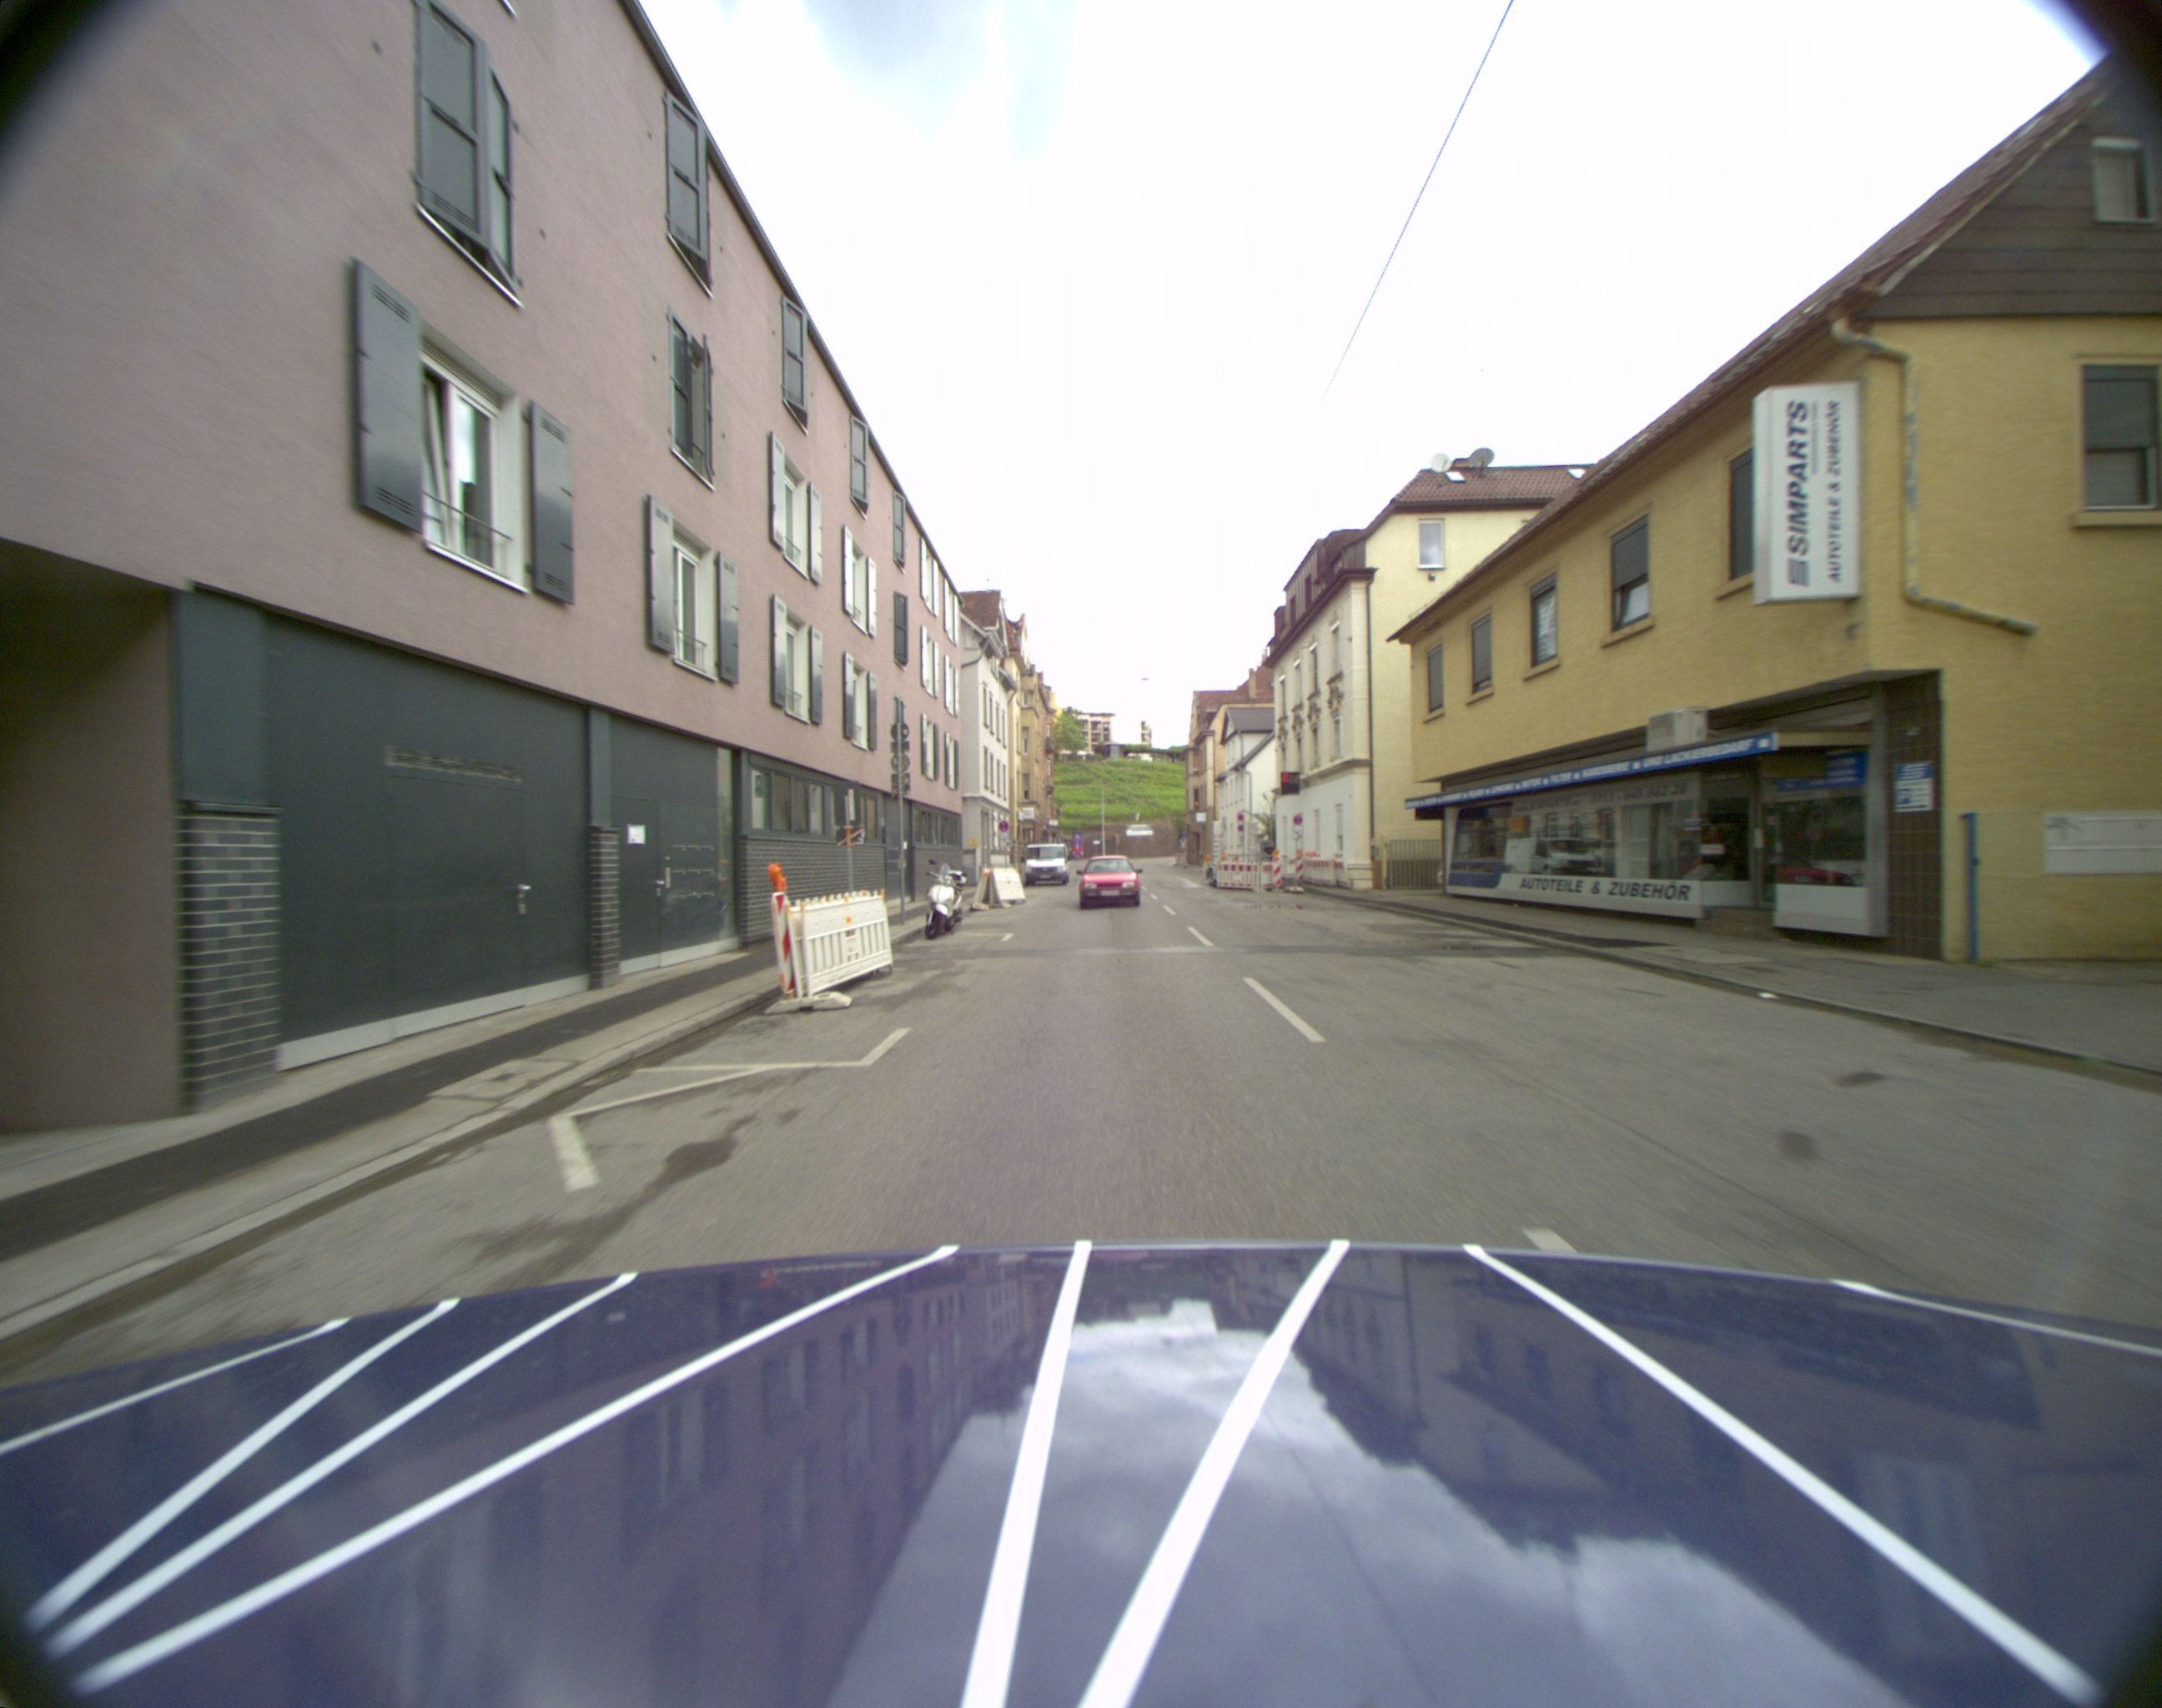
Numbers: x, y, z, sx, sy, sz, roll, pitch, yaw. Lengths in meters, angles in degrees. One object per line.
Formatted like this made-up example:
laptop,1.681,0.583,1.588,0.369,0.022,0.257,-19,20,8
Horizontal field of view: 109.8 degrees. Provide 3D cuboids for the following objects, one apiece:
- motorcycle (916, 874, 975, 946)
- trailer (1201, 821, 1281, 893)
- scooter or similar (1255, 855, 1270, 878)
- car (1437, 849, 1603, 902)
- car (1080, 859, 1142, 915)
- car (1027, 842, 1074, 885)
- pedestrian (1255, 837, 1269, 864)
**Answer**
motorcycle,-2.632,1.052,15.033,0.648,1.219,2.337,-2,1,2
trailer,6.765,0.080,32.909,2.450,2.788,6.304,1,1,3
scooter or similar,10.568,0.714,44.328,0.561,1.283,1.228,-2,1,2
car,13.100,0.617,22.815,3.997,1.477,1.725,-1,1,-1
car,0.908,0.885,22.126,1.626,1.387,4.001,-1,1,3
car,-1.425,0.419,37.635,1.998,1.970,4.878,-1,1,1
pedestrian,10.548,-0.184,44.302,0.602,1.557,0.607,-2,2,1
